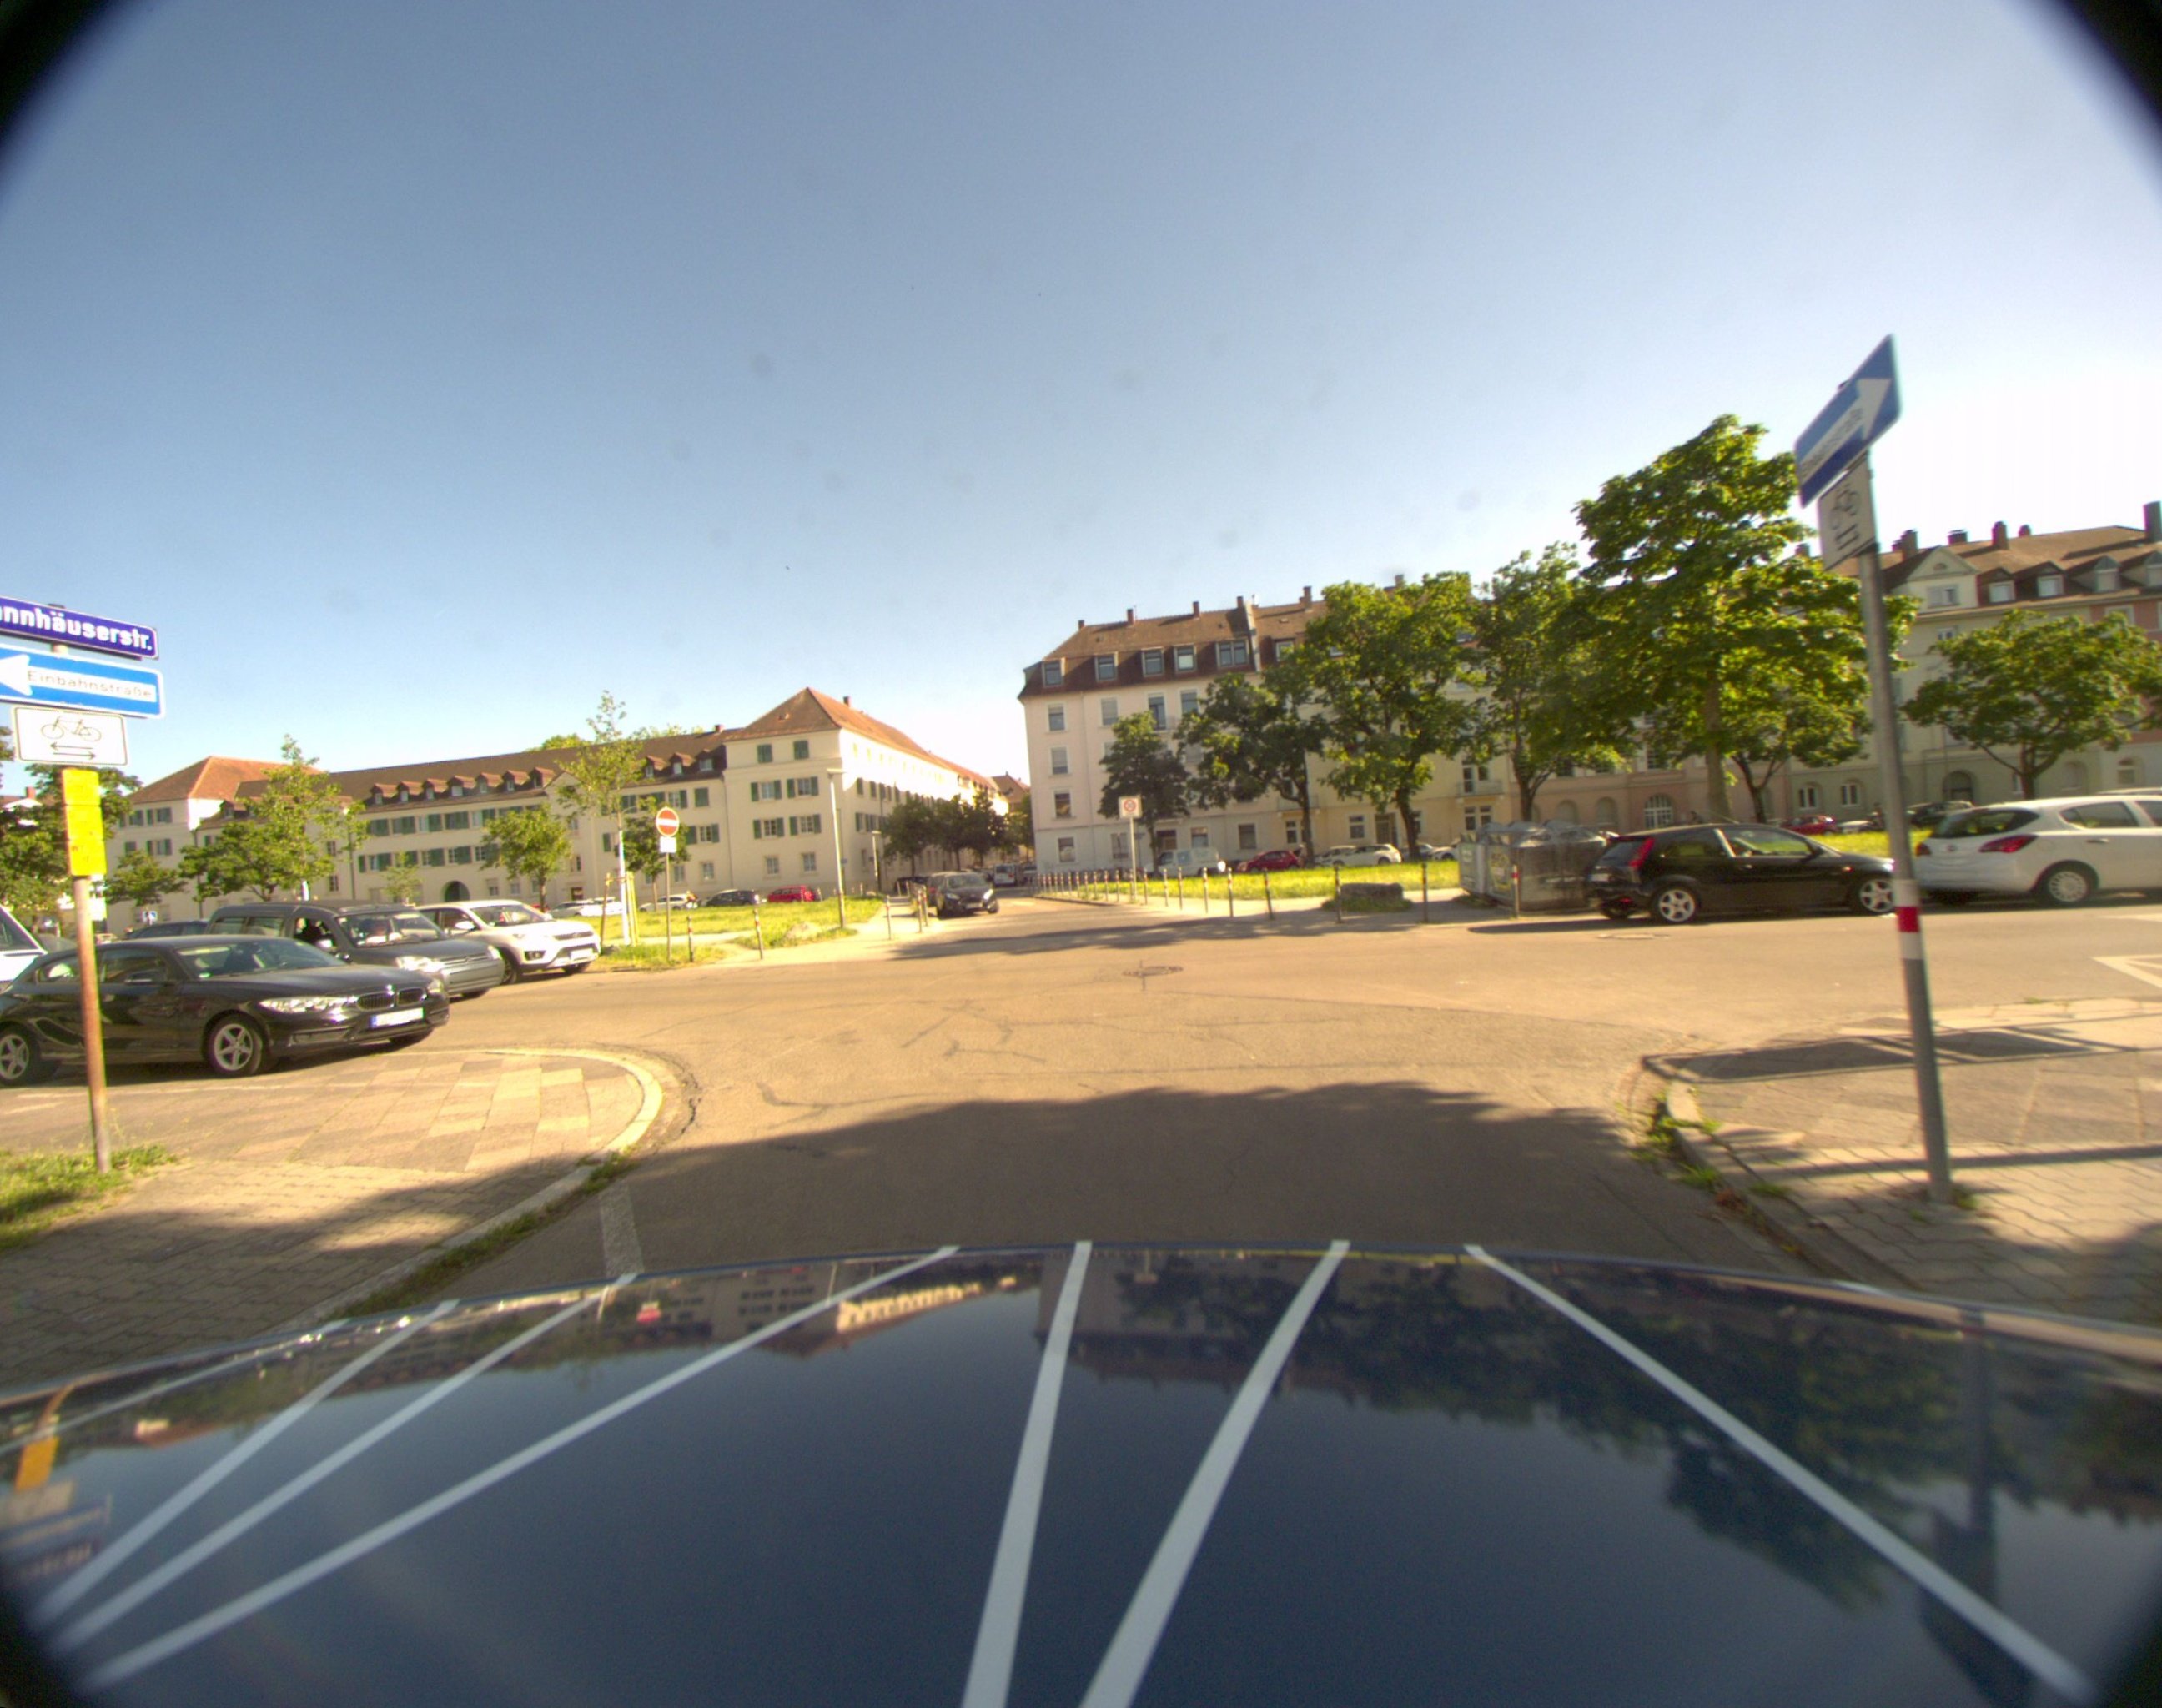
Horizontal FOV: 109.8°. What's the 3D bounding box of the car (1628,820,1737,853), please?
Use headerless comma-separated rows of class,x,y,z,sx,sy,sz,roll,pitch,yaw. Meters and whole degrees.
car,34.196,-0.966,43.292,4.522,1.540,1.763,-4,0,7

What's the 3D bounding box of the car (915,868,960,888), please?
car,-13.145,2.171,69.512,3.611,1.512,1.709,-4,0,5

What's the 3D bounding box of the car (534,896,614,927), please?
car,-36.451,4.148,54.707,4.252,1.809,2.244,-4,0,7

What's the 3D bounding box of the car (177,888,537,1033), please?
car,-11.367,1.636,12.081,4.151,1.779,1.905,-5,0,9

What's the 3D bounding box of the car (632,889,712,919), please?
car,-32.037,3.898,59.598,5.151,1.875,2.162,-4,0,9

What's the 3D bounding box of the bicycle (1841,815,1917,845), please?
bicycle,39.747,-1.194,37.883,2.631,1.245,0.813,-4,0,8

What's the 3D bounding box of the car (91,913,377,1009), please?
car,-18.212,2.285,16.419,4.708,1.628,1.850,-4,-2,10

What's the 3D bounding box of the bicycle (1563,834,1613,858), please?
bicycle,26.354,-0.425,39.506,1.953,1.072,0.735,-4,0,8

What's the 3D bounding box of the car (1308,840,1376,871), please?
car,17.712,0.107,51.708,3.995,1.747,1.870,-4,0,8

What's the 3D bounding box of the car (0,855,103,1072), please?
car,-16.883,1.603,9.888,6.831,2.696,2.152,-4,-1,11

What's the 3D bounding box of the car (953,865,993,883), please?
car,-11.050,2.055,78.136,3.611,1.512,1.861,-4,0,5

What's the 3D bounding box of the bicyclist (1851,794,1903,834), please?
bicyclist,39.705,-1.981,37.927,1.447,1.826,0.945,-3,0,8

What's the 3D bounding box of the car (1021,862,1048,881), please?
car,-4.409,1.672,72.838,1.936,1.559,3.884,-4,0,6

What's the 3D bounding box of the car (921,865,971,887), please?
car,-12.725,2.095,71.715,4.237,1.691,1.707,-4,0,7

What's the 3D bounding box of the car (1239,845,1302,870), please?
car,11.616,0.196,46.748,3.522,1.272,1.700,-4,0,7

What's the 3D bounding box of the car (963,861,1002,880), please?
car,-10.751,1.772,83.248,3.708,1.823,1.957,-4,0,5

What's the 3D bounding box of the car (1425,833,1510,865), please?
car,22.840,-0.288,45.041,4.076,1.518,1.700,-4,0,7

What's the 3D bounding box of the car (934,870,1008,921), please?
car,-3.882,1.340,26.175,1.921,1.401,4.343,-6,0,-14

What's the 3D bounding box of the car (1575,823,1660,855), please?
car,34.418,-0.955,48.872,3.994,1.691,1.853,-4,0,12

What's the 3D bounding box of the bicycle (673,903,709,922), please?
bicycle,-29.271,4.379,57.013,2.255,1.255,0.845,-4,0,9

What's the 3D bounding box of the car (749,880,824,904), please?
car,-22.440,2.879,58.001,4.951,1.476,2.001,-4,-1,9

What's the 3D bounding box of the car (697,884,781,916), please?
car,-23.647,3.161,52.615,4.699,1.809,2.166,-4,0,8

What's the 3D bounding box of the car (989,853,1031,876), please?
car,-9.238,1.359,98.913,4.950,2.504,1.957,-4,0,5

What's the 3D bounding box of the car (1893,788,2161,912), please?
car,14.192,-0.093,10.373,3.869,1.485,1.785,-4,-2,11

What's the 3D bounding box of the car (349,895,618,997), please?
car,-11.842,1.803,15.157,4.281,1.637,1.764,-4,-2,11

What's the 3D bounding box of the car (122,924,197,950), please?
car,-73.074,6.586,60.277,4.230,1.574,1.796,-4,0,8

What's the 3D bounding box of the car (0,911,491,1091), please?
car,-9.379,1.548,8.339,4.493,1.472,1.967,-4,-2,9

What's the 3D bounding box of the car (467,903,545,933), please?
car,-42.034,4.668,55.594,4.003,1.740,2.326,-4,0,11

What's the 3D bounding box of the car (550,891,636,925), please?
car,-39.068,4.292,60.927,5.251,2.203,2.540,-4,0,8

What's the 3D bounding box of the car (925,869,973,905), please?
car,-6.717,1.620,38.325,1.930,1.567,4.344,-4,-1,-14

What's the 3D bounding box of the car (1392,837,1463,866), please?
car,23.097,-0.187,50.783,3.855,1.605,1.892,-4,0,8

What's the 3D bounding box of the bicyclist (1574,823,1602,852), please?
bicyclist,26.339,-0.857,39.491,0.941,1.429,0.741,-3,0,9

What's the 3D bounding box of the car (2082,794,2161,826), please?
car,55.428,-2.351,39.909,3.337,1.431,1.386,-4,0,10

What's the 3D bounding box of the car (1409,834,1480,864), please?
car,23.009,-0.320,48.204,3.587,1.592,1.782,-4,0,8

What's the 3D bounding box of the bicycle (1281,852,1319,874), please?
bicycle,13.765,0.579,47.882,2.151,1.251,0.715,-4,0,8

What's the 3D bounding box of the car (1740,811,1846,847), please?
car,39.653,-1.357,42.385,4.076,1.677,1.638,-4,0,7

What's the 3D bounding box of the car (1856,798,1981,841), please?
car,45.601,-1.855,41.471,4.455,1.897,1.743,-4,0,7

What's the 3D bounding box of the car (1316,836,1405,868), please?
car,16.845,-0.125,45.942,4.692,1.552,1.700,-4,0,7

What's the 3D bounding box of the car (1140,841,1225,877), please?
car,6.370,0.337,47.947,5.092,1.861,2.089,-4,0,7

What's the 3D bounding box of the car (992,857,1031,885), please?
car,-5.643,1.370,62.204,2.138,2.002,4.579,-4,0,6

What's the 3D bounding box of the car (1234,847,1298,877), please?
car,12.730,0.519,52.552,4.048,1.741,2.001,-4,0,10

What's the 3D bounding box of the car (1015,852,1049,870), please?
car,-7.665,1.072,118.908,4.950,2.381,1.957,-4,0,5

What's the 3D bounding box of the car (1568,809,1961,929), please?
car,9.770,0.255,11.218,3.910,1.416,1.756,-3,-2,11

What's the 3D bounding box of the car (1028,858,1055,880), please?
car,-3.963,1.508,77.808,1.998,1.962,5.055,-4,0,5

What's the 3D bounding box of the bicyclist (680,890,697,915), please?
bicyclist,-29.454,3.634,56.995,0.800,1.792,0.675,-4,1,9

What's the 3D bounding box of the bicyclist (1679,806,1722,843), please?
bicyclist,32.536,-1.530,39.918,1.449,1.826,0.944,-3,0,-7

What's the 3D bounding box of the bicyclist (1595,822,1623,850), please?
bicyclist,28.067,-0.940,40.390,0.941,1.429,0.741,-3,0,9

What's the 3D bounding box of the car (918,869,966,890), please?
car,-12.104,2.243,66.460,3.662,1.512,1.714,-4,0,8

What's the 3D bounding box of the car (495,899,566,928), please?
car,-44.645,4.788,61.658,4.161,1.894,2.272,-4,0,8

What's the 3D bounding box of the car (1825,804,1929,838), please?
car,48.934,-2.016,46.797,4.021,1.741,1.949,-4,0,8

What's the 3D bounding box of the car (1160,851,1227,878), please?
car,7.803,0.707,53.108,4.447,1.577,2.001,-4,0,5

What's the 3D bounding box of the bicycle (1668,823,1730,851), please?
bicycle,32.435,-0.907,39.896,2.633,1.245,0.812,-4,0,-5

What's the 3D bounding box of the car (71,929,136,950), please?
car,-78.372,6.861,60.940,3.510,1.325,1.656,-4,0,8

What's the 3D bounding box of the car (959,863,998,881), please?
car,-10.898,1.886,80.853,3.611,1.631,1.833,-4,0,5

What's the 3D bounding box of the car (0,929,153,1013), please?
car,-24.223,2.704,17.253,4.732,1.600,1.827,-4,-2,9

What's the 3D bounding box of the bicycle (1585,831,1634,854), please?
bicycle,28.088,-0.601,40.396,1.953,1.072,0.735,-4,0,8

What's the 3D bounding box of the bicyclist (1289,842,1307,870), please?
bicyclist,13.663,0.104,47.823,0.878,1.680,0.632,-4,0,9

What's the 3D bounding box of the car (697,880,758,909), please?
car,-27.335,3.129,58.830,3.892,2.002,1.672,-4,0,9

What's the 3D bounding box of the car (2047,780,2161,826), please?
car,60.641,-2.991,44.826,4.458,2.245,1.783,-4,0,8
